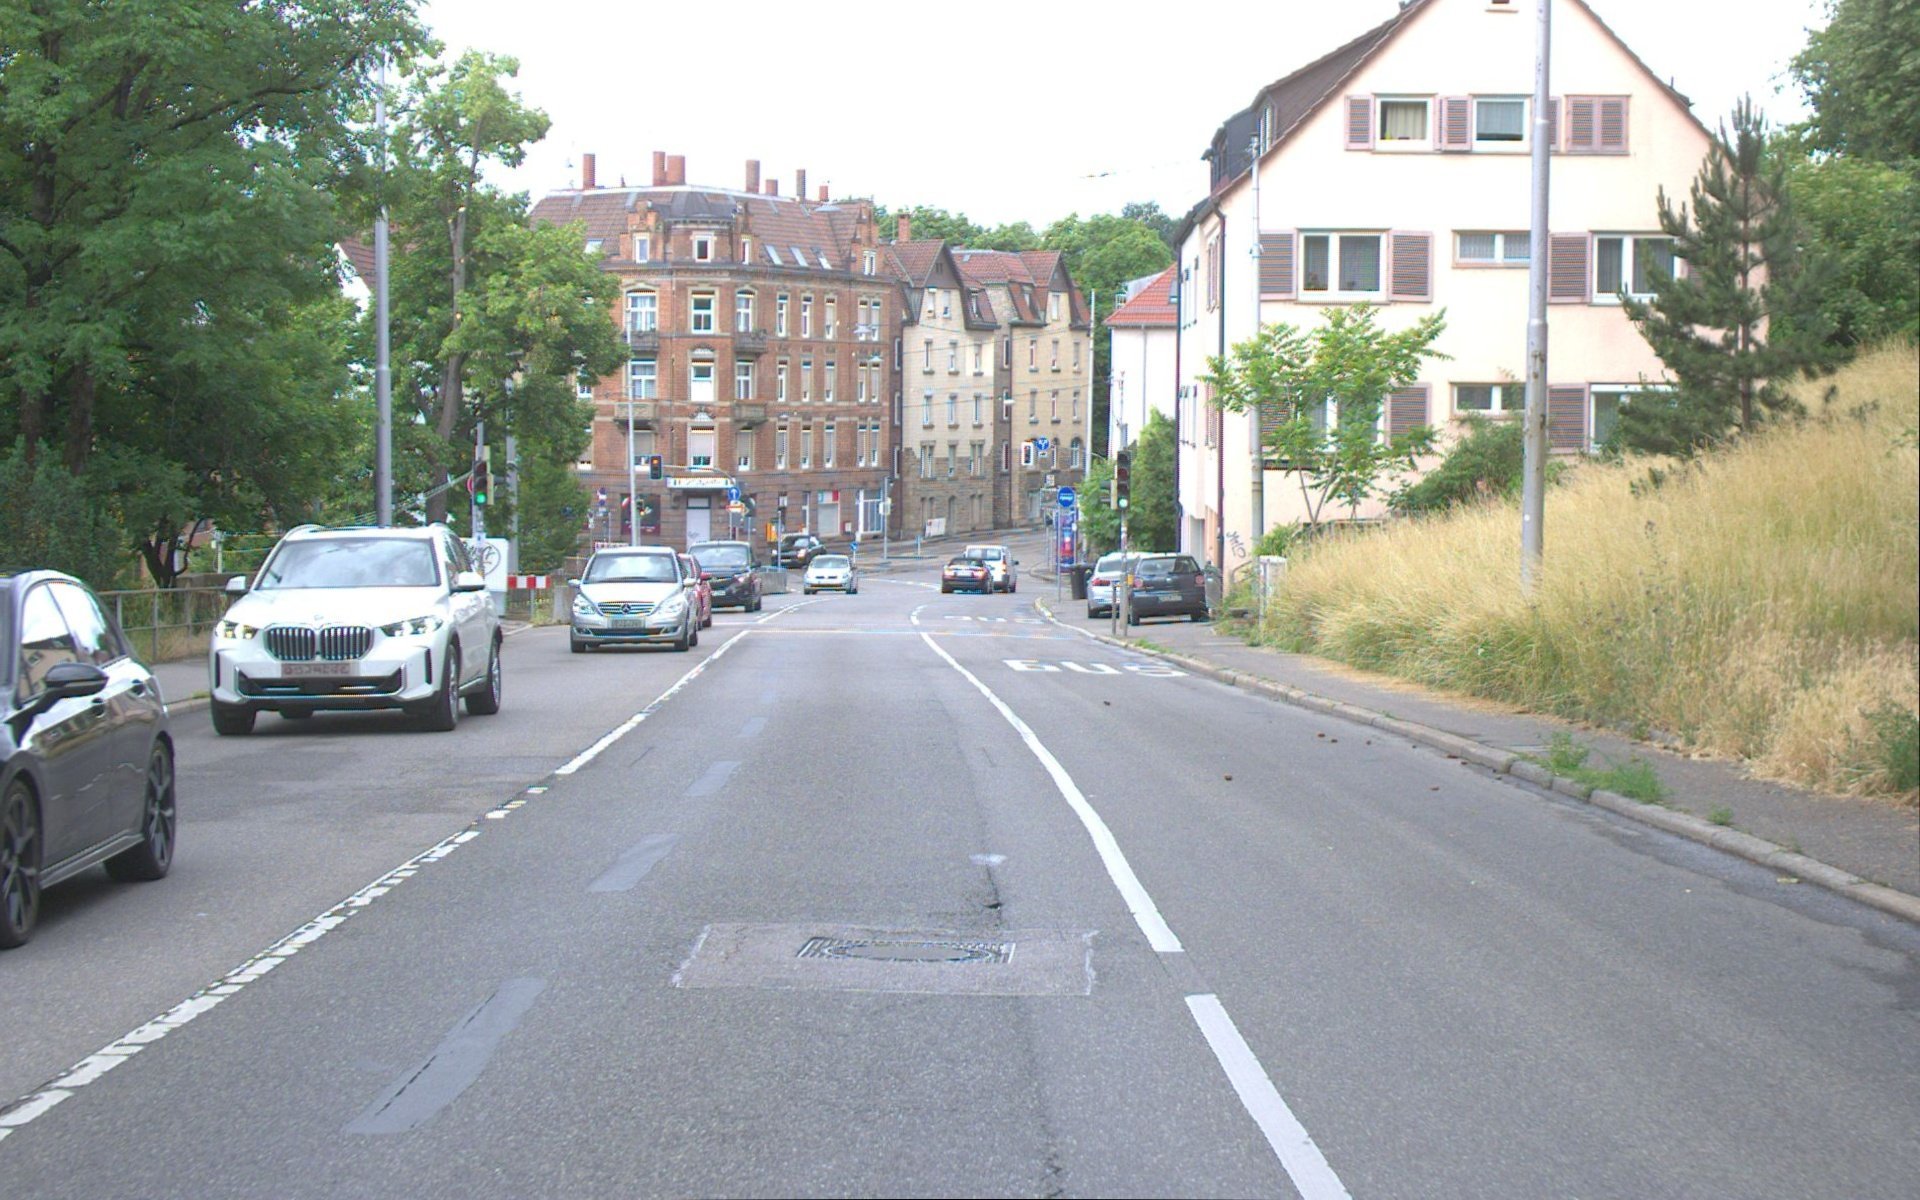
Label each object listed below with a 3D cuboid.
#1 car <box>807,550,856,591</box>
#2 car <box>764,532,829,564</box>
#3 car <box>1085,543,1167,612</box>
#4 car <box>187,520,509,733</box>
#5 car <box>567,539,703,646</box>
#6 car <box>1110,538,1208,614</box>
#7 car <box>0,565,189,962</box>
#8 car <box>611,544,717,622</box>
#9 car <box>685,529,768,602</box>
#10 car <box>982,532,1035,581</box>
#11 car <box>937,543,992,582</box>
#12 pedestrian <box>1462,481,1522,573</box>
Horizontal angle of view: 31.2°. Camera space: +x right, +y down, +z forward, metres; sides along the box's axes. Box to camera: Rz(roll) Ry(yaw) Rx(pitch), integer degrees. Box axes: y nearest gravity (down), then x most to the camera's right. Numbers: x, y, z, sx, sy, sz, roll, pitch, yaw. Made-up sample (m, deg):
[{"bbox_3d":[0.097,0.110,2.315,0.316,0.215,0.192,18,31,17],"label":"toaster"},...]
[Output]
[{"bbox_3d":[-4.728,-1.108,126.807,1.720,1.440,4.159,-1,1,-1],"label":"car"},{"bbox_3d":[-8.208,-2.619,172.907,1.983,1.569,4.372,-1,1,14],"label":"car"},{"bbox_3d":[3.875,-0.554,80.700,1.794,1.446,4.718,-3,1,3],"label":"car"},{"bbox_3d":[-5.198,0.168,29.820,1.995,1.677,4.664,-1,1,-1],"label":"car"},{"bbox_3d":[-4.976,-0.138,53.163,1.783,1.569,4.281,-1,1,-1],"label":"car"},{"bbox_3d":[4.124,-0.489,71.774,1.681,1.446,4.000,-3,0,-1],"label":"car"},{"bbox_3d":[-4.409,0.589,14.013,1.712,1.422,4.139,0,1,-2],"label":"car"},{"bbox_3d":[-5.762,-0.352,67.279,1.783,1.454,4.429,-1,1,-1],"label":"car"},{"bbox_3d":[-5.755,-0.870,85.032,1.784,1.740,4.429,-1,1,-1],"label":"car"},{"bbox_3d":[1.969,-1.751,138.834,1.909,1.877,4.000,2,1,4],"label":"car"},{"bbox_3d":[0.177,-1.453,132.164,1.816,1.425,4.000,2,1,4],"label":"car"},{"bbox_3d":[10.028,-1.365,64.851,0.887,1.690,0.873,2,0,-4],"label":"pedestrian"}]
